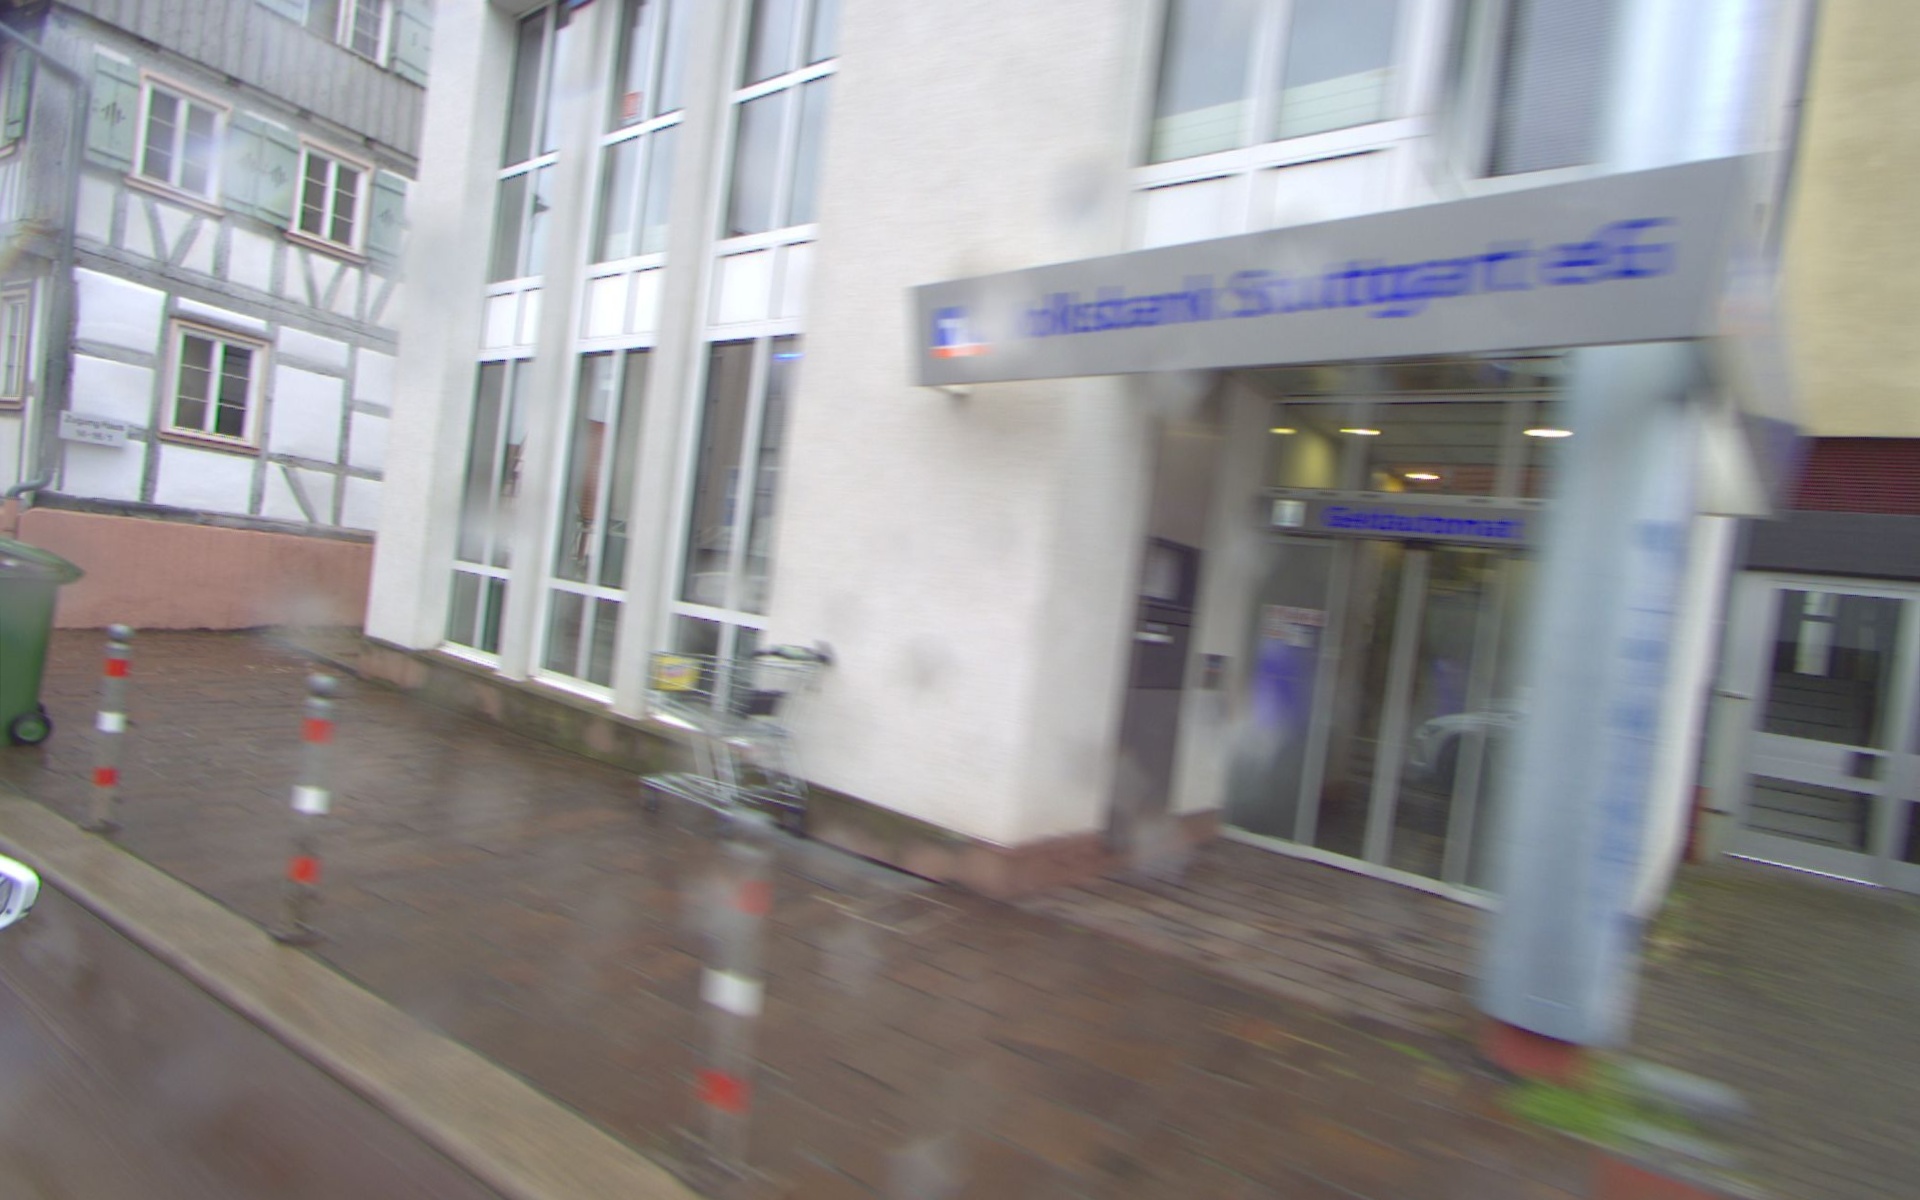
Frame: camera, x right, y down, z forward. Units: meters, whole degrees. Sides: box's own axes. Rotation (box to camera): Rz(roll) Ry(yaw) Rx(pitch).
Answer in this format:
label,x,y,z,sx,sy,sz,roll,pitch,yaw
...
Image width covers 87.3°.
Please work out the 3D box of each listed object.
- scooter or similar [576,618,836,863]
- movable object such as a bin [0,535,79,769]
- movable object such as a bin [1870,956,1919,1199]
label,x,y,z,sx,sy,sz,roll,pitch,yaw
scooter or similar,-1.523,0.770,5.943,1.425,1.160,0.664,6,0,39
movable object such as a bin,-5.667,0.277,5.834,0.622,1.306,0.638,6,0,37
movable object such as a bin,1.745,1.199,1.198,0.848,1.145,0.805,6,0,30
